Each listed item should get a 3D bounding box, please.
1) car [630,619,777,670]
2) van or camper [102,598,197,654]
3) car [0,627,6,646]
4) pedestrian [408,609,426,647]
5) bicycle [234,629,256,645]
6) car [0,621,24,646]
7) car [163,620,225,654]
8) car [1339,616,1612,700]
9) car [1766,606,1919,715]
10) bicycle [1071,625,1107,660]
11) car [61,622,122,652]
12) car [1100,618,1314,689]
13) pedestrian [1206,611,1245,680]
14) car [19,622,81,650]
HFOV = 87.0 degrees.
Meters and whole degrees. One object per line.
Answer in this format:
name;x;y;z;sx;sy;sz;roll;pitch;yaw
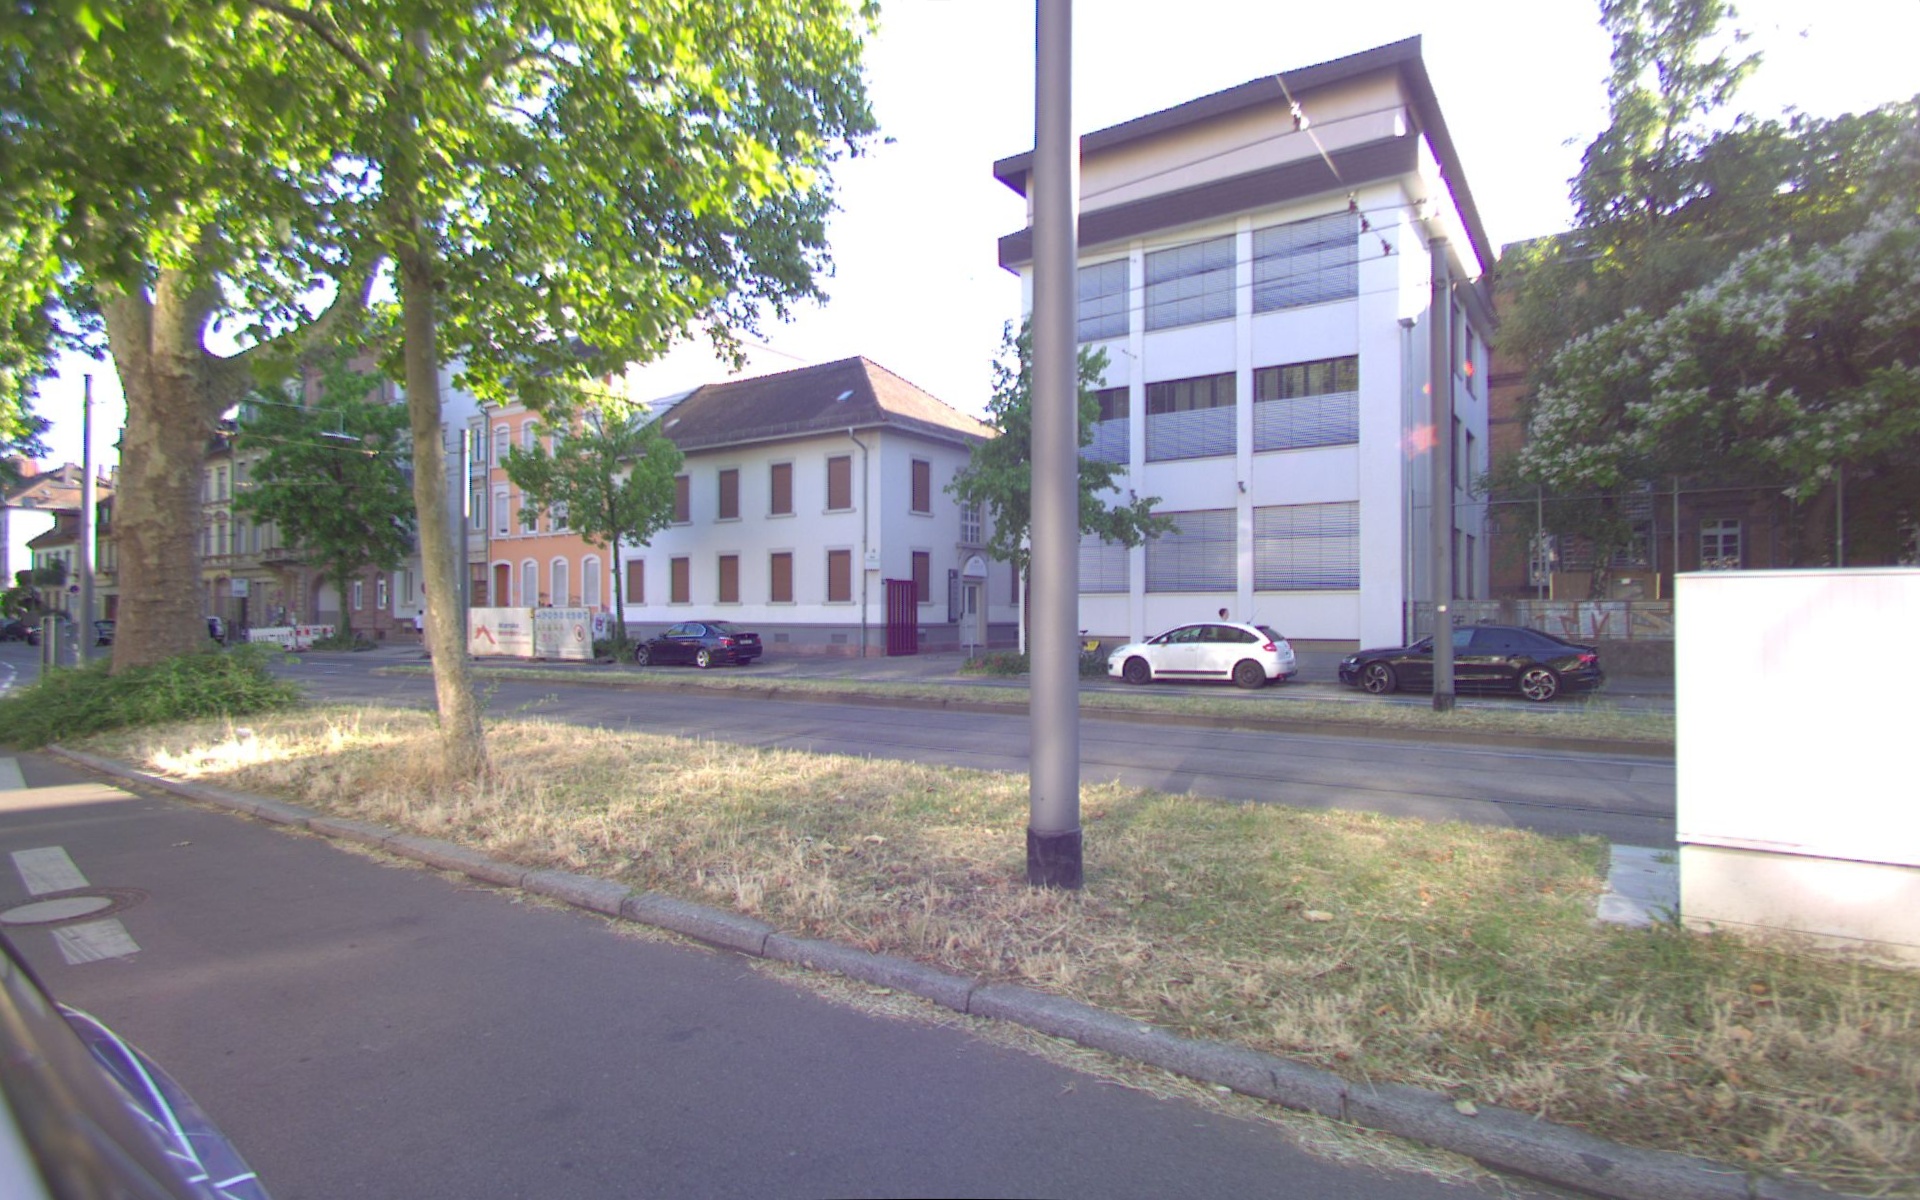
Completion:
car;-8.279;1.388;32.510;4.713;1.525;1.977;-1;-2;34
van or camper;-47.252;1.474;58.921;7.236;2.969;2.398;-1;2;36
car;-75.193;2.835;77.850;4.393;1.465;1.650;-1;1;34
pedestrian;-26.571;1.384;49.501;0.480;1.832;0.593;-1;-2;35
bicycle;-43.055;2.239;60.965;1.789;0.931;0.573;-1;-2;37
car;-71.490;2.533;75.495;3.618;1.759;1.710;-1;2;36
car;-42.023;1.998;55.506;3.360;1.718;1.618;-1;1;32
car;10.142;1.085;20.047;4.636;1.487;1.977;-1;-2;33
car;15.846;0.949;16.381;4.166;1.702;1.977;-1;-2;33
bicycle;3.763;1.231;29.600;1.016;1.010;0.300;-1;-2;34
car;-54.952;2.308;64.020;4.431;1.718;1.796;-1;2;34
car;5.629;1.162;23.235;4.393;1.482;1.977;-1;-2;33
pedestrian;6.432;1.097;24.539;0.730;1.633;0.630;-1;0;35
car;-61.579;2.422;68.444;4.738;1.715;1.977;-1;2;34
